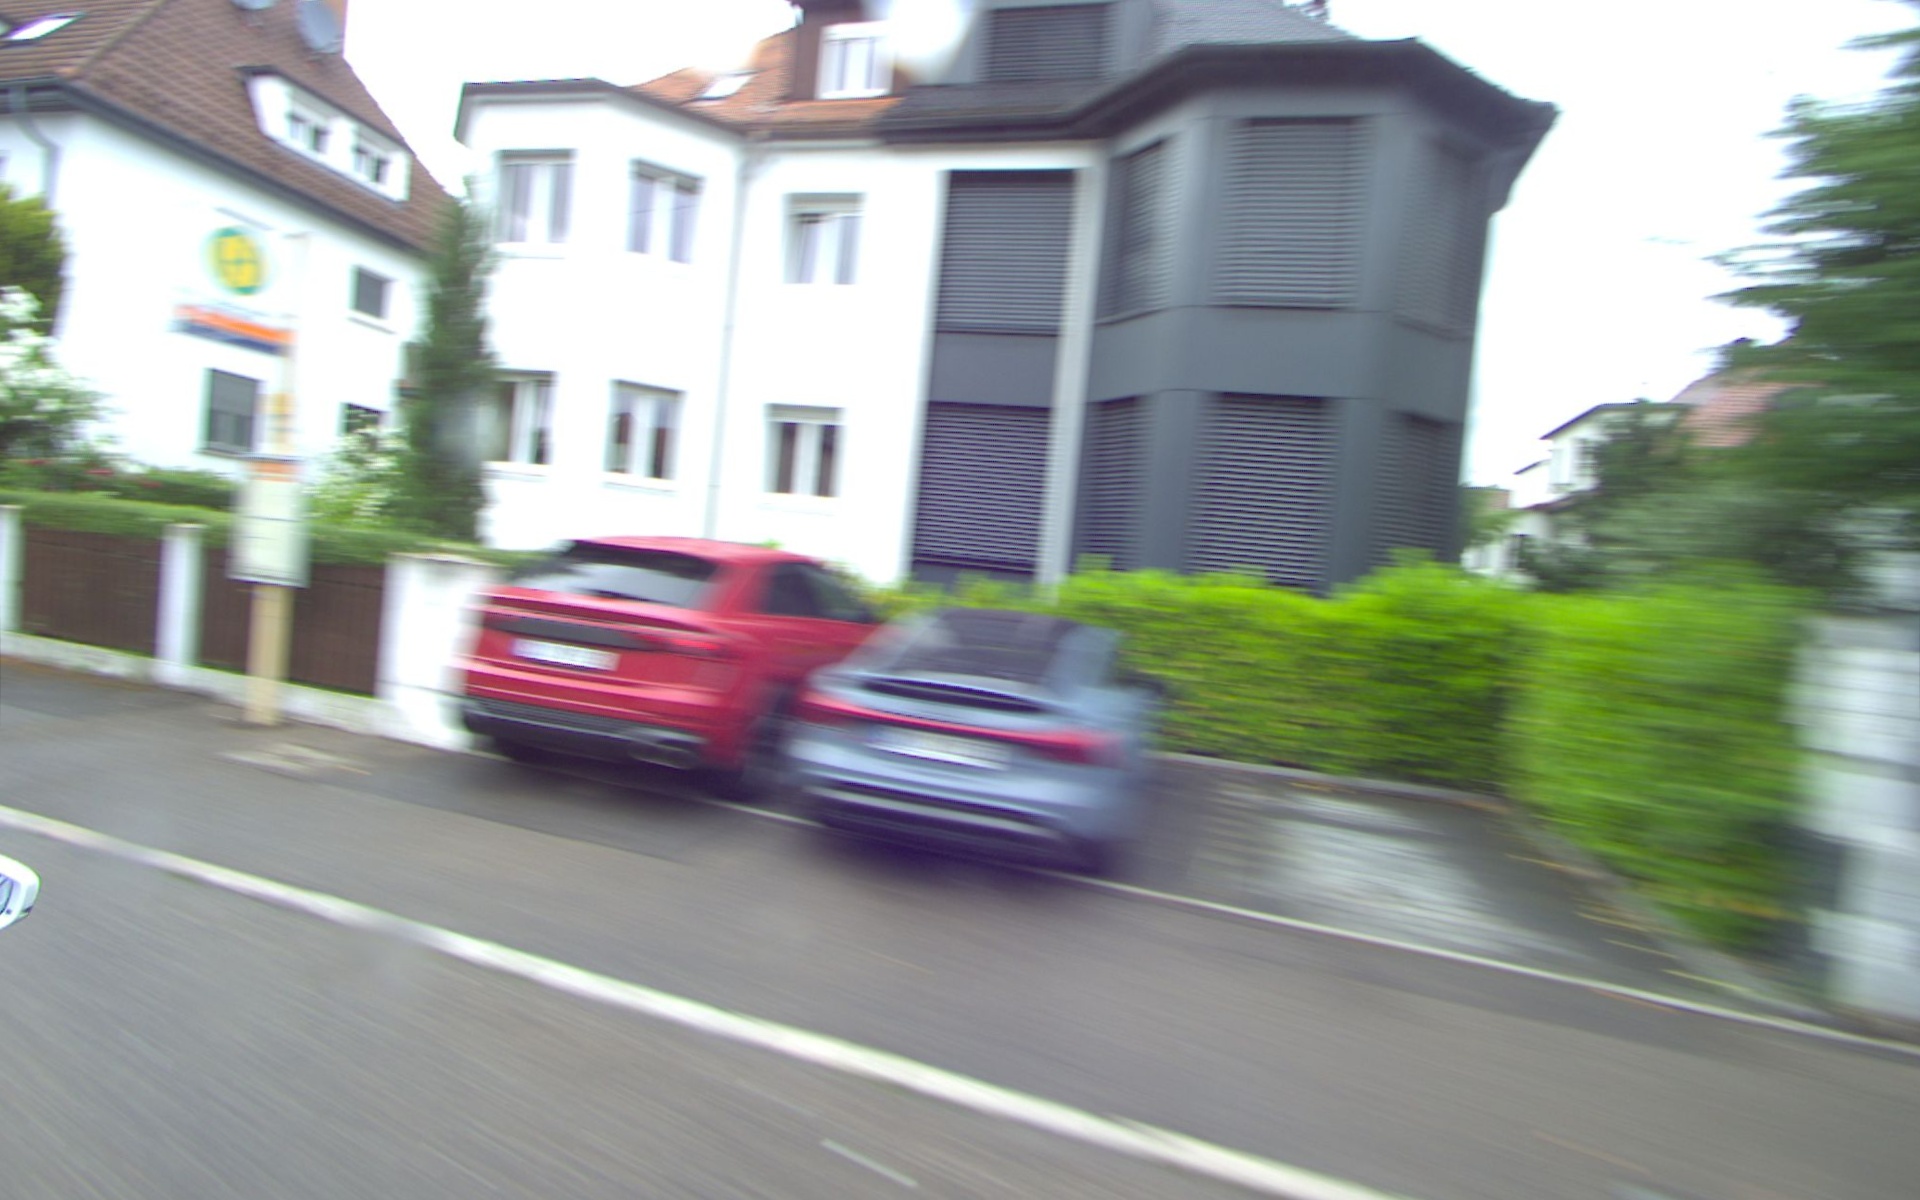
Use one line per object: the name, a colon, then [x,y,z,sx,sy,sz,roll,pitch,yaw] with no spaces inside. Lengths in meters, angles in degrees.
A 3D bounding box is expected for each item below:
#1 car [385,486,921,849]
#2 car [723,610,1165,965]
car: [-1.857,0.359,7.607,1.962,1.773,4.085,7,1,13]
car: [0.318,0.908,7.161,1.962,1.435,4.561,7,1,13]
